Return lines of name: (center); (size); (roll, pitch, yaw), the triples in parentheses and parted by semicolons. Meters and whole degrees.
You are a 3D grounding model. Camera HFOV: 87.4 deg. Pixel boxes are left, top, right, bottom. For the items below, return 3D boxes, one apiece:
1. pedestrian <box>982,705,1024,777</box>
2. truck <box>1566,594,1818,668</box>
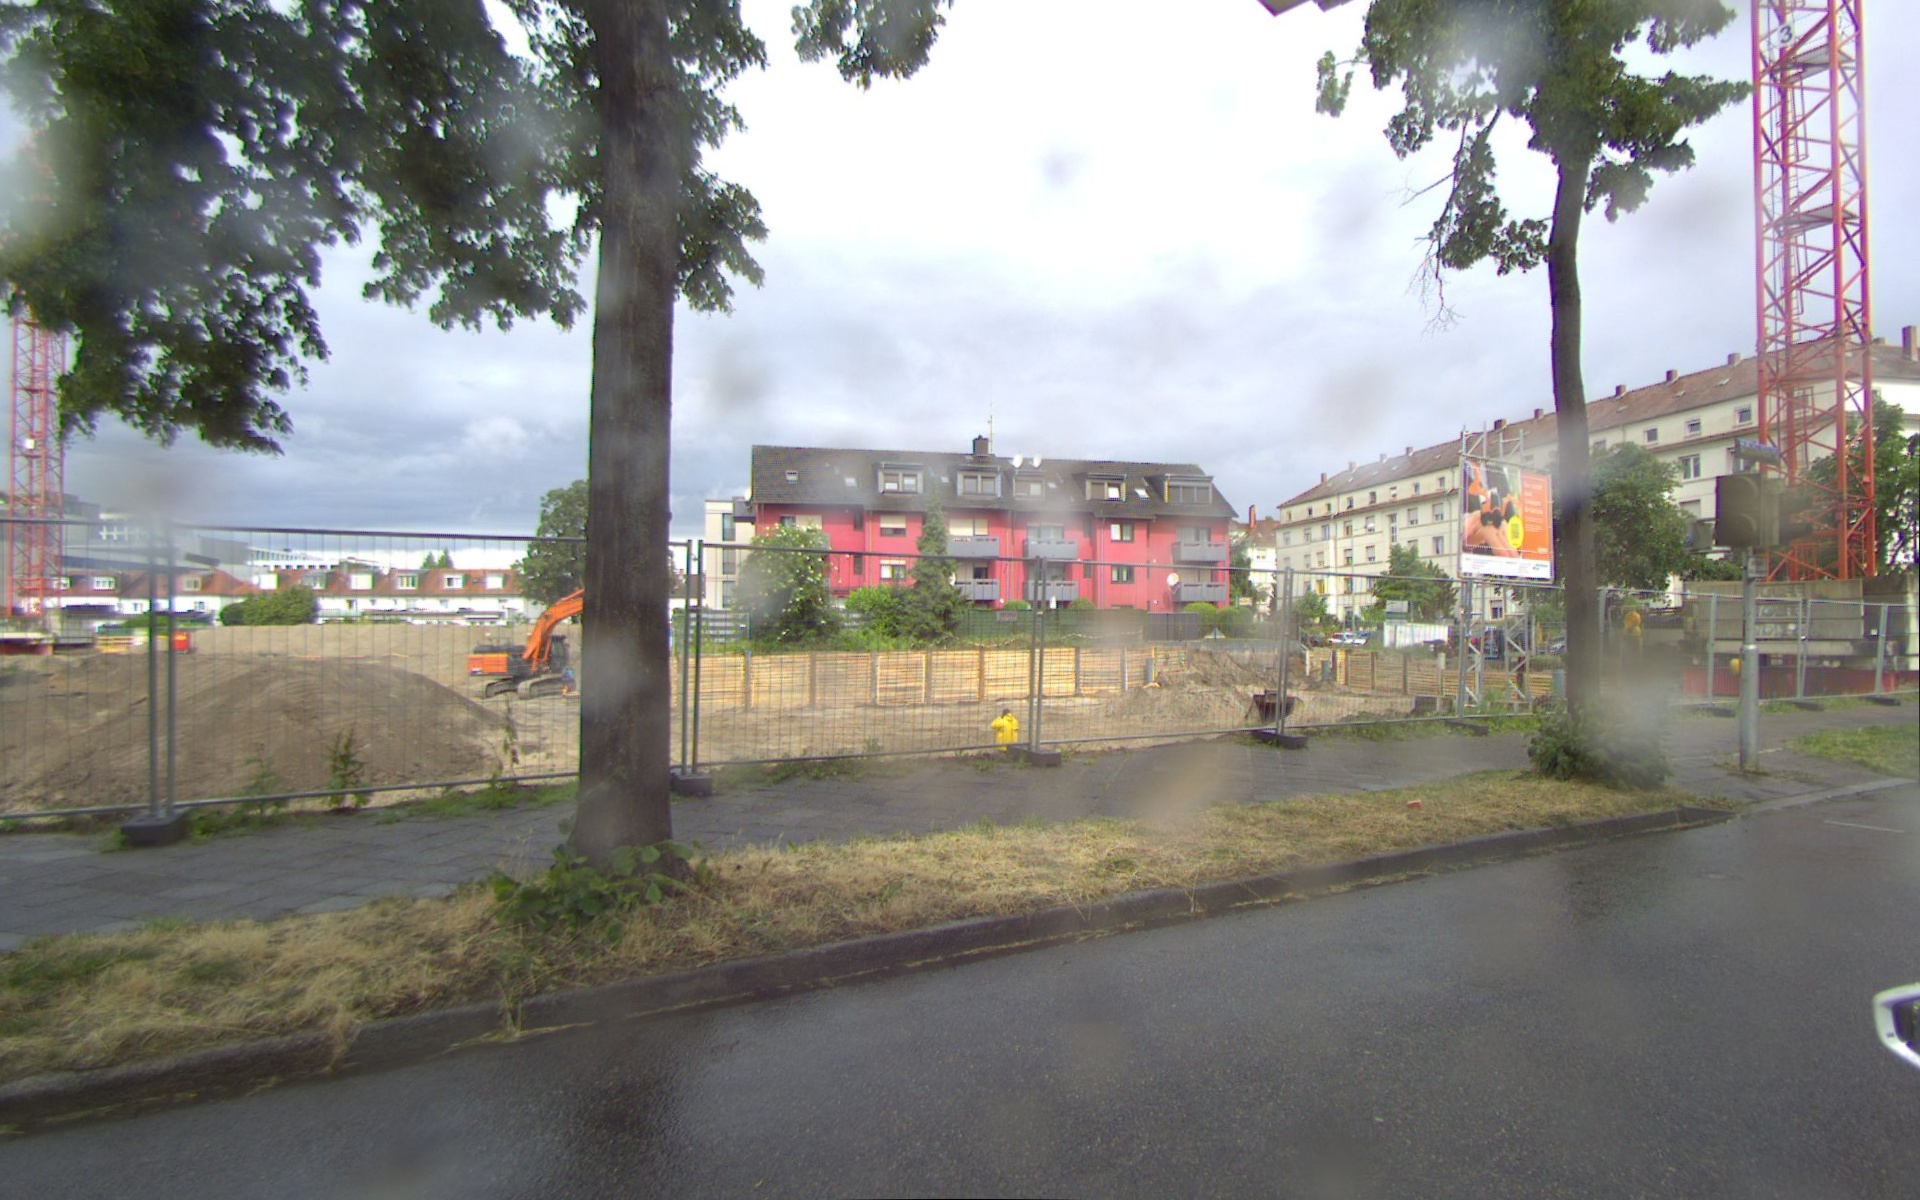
pedestrian: (1.076, 3.492, 25.036); (0.837, 1.706, 0.585); (1, -4, -25)
truck: (35.091, 1.570, 48.903); (3.727, 3.226, 9.820); (0, -2, -14)
